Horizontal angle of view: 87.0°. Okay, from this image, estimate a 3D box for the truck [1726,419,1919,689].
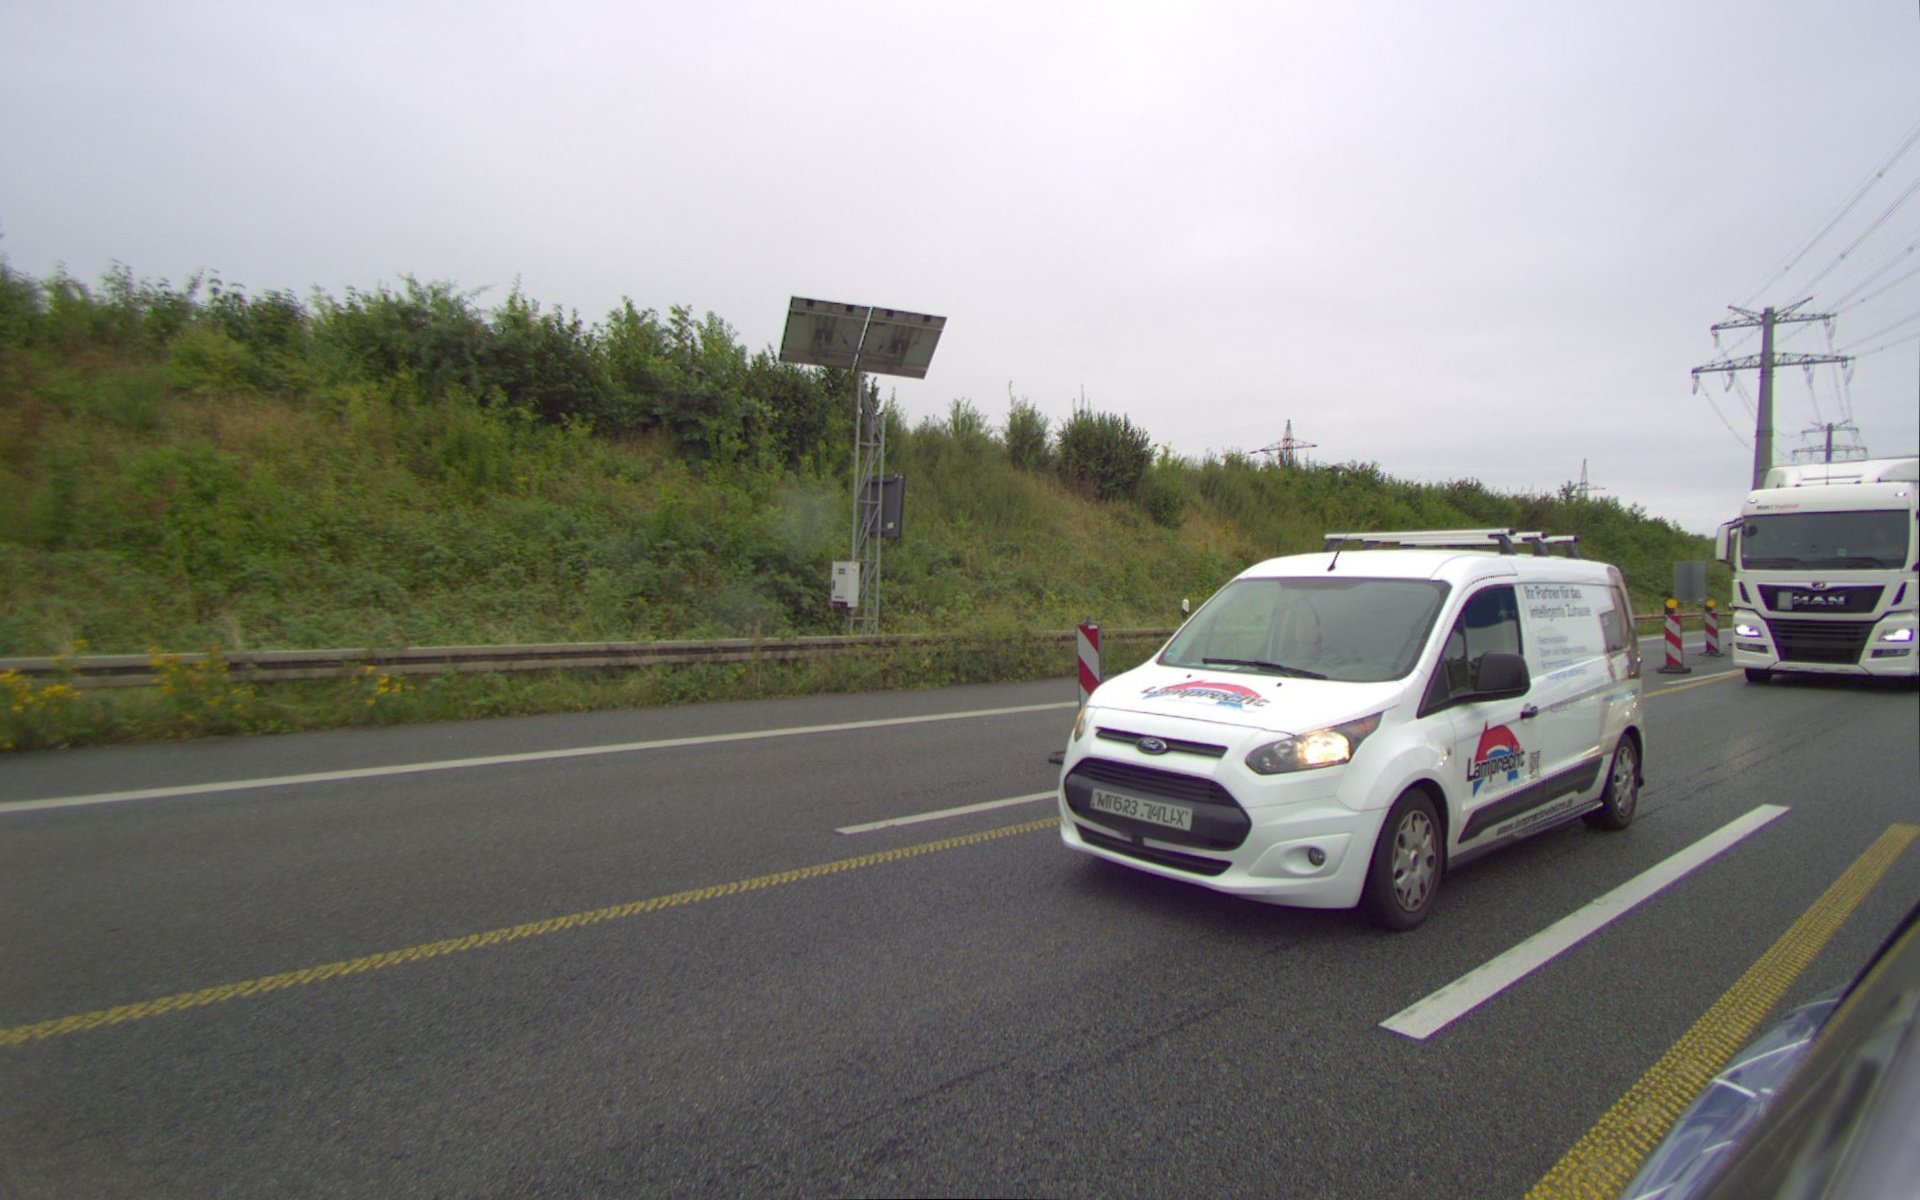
[{"bbox_3d":[16.284,-0.734,18.348,5.591,4.191,2.711,0,1,-41],"label":"truck"}]

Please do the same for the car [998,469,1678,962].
[{"bbox_3d":[2.519,0.421,6.028,4.574,1.862,1.832,0,1,-41],"label":"car"}]

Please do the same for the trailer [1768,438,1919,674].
[{"bbox_3d":[21.658,-0.805,23.012,13.491,4.198,2.711,0,1,-41],"label":"trailer"}]
